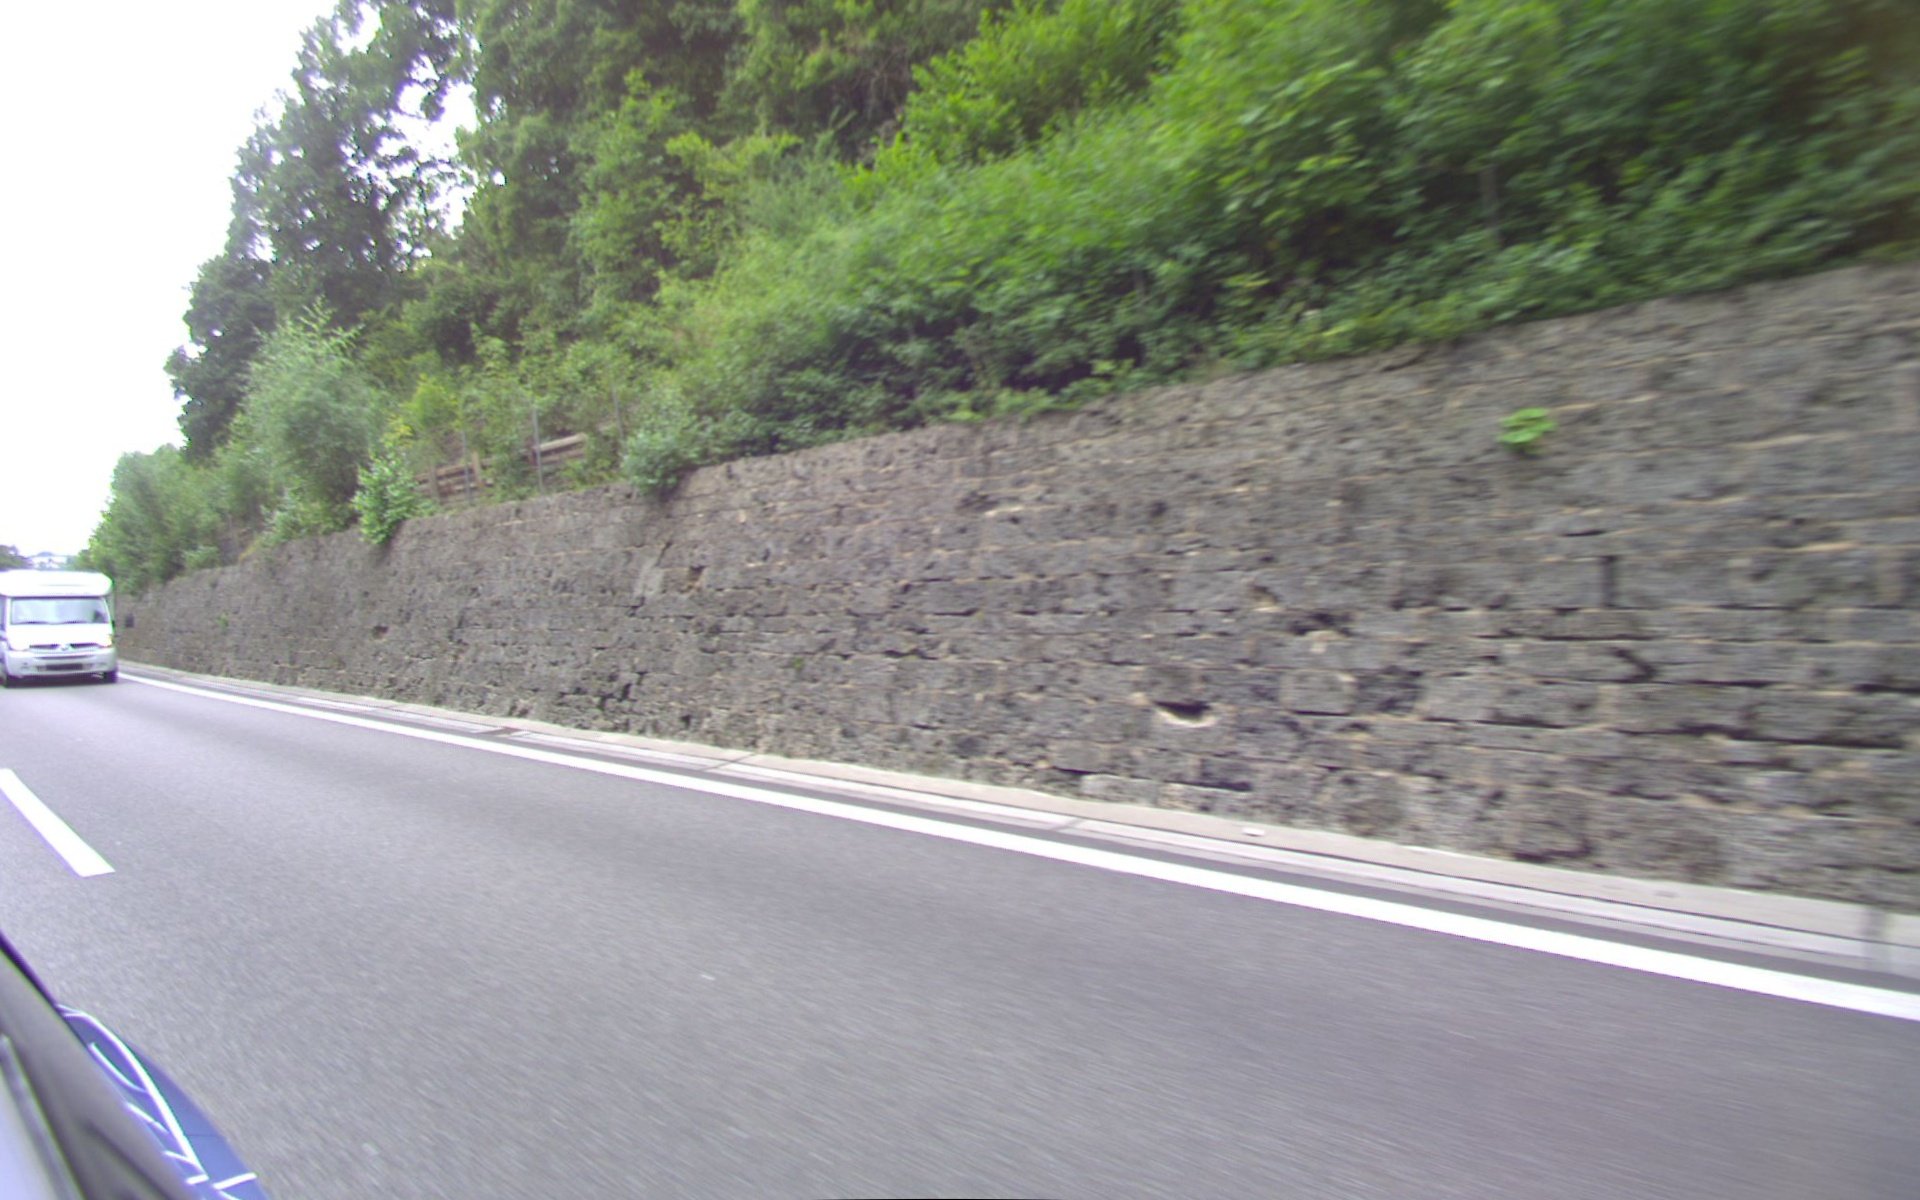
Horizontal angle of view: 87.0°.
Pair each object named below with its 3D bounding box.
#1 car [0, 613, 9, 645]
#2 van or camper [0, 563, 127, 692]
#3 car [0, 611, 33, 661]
[{"bbox_3d":[-63.587,1.900,66.059,4.000,2.029,1.972,-1,0,43],"label":"car"},{"bbox_3d":[-22.309,0.635,24.638,7.024,2.756,2.240,-1,-1,43],"label":"van or camper"},{"bbox_3d":[-36.481,1.356,38.300,4.000,1.796,1.784,-1,0,43],"label":"car"}]
